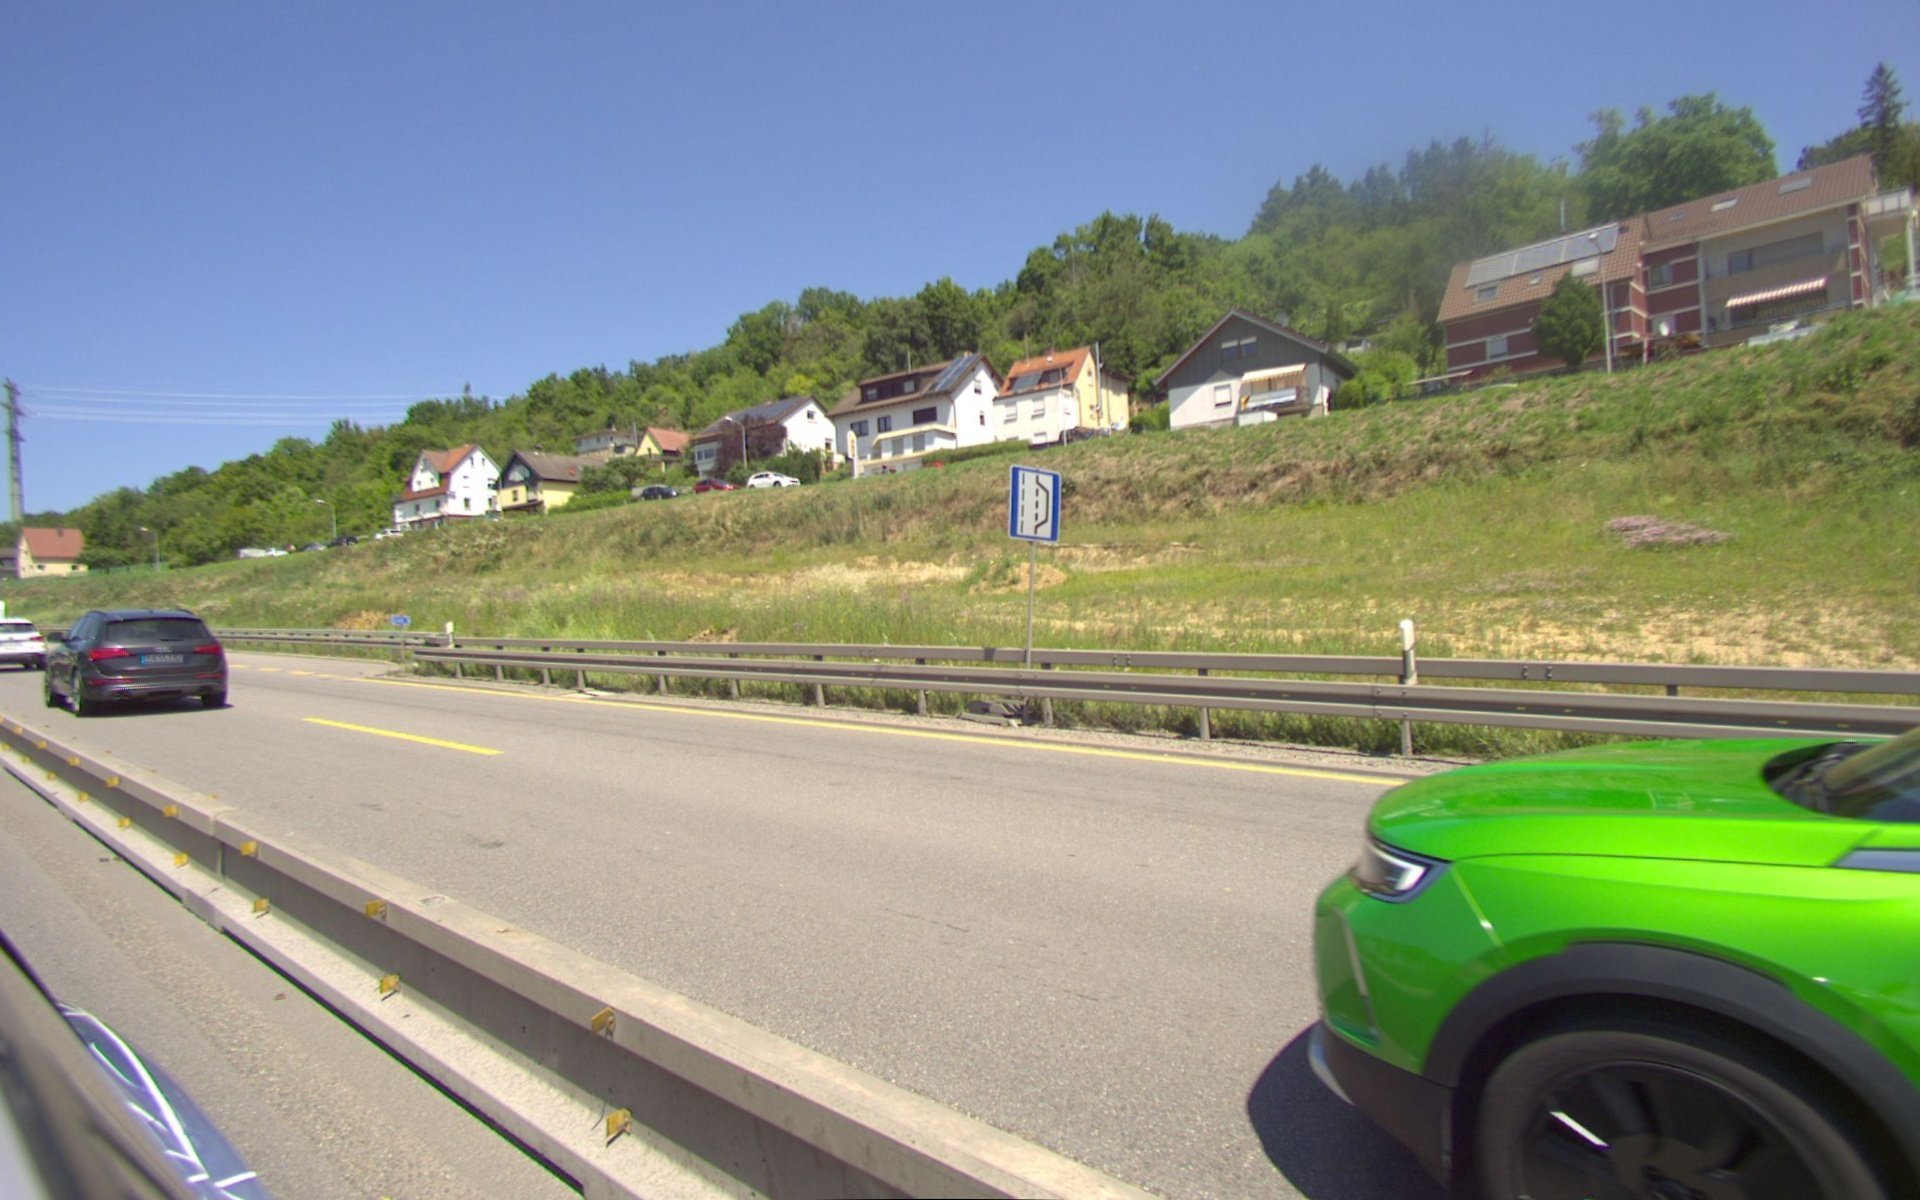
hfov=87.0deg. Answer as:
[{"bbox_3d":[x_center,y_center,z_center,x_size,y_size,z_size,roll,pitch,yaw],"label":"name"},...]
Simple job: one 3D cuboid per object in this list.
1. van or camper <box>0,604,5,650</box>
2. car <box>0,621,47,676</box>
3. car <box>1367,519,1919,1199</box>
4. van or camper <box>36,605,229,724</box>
[{"bbox_3d":[-58.262,1.605,59.639,6.048,2.670,2.352,-1,-1,41],"label":"van or camper"},{"bbox_3d":[-28.207,1.393,29.723,4.540,1.487,1.655,-2,0,43],"label":"car"},{"bbox_3d":[2.939,0.581,1.458,3.998,1.519,1.736,-1,1,41],"label":"car"},{"bbox_3d":[-13.557,0.963,16.502,3.886,1.681,1.809,-1,-1,41],"label":"van or camper"}]
